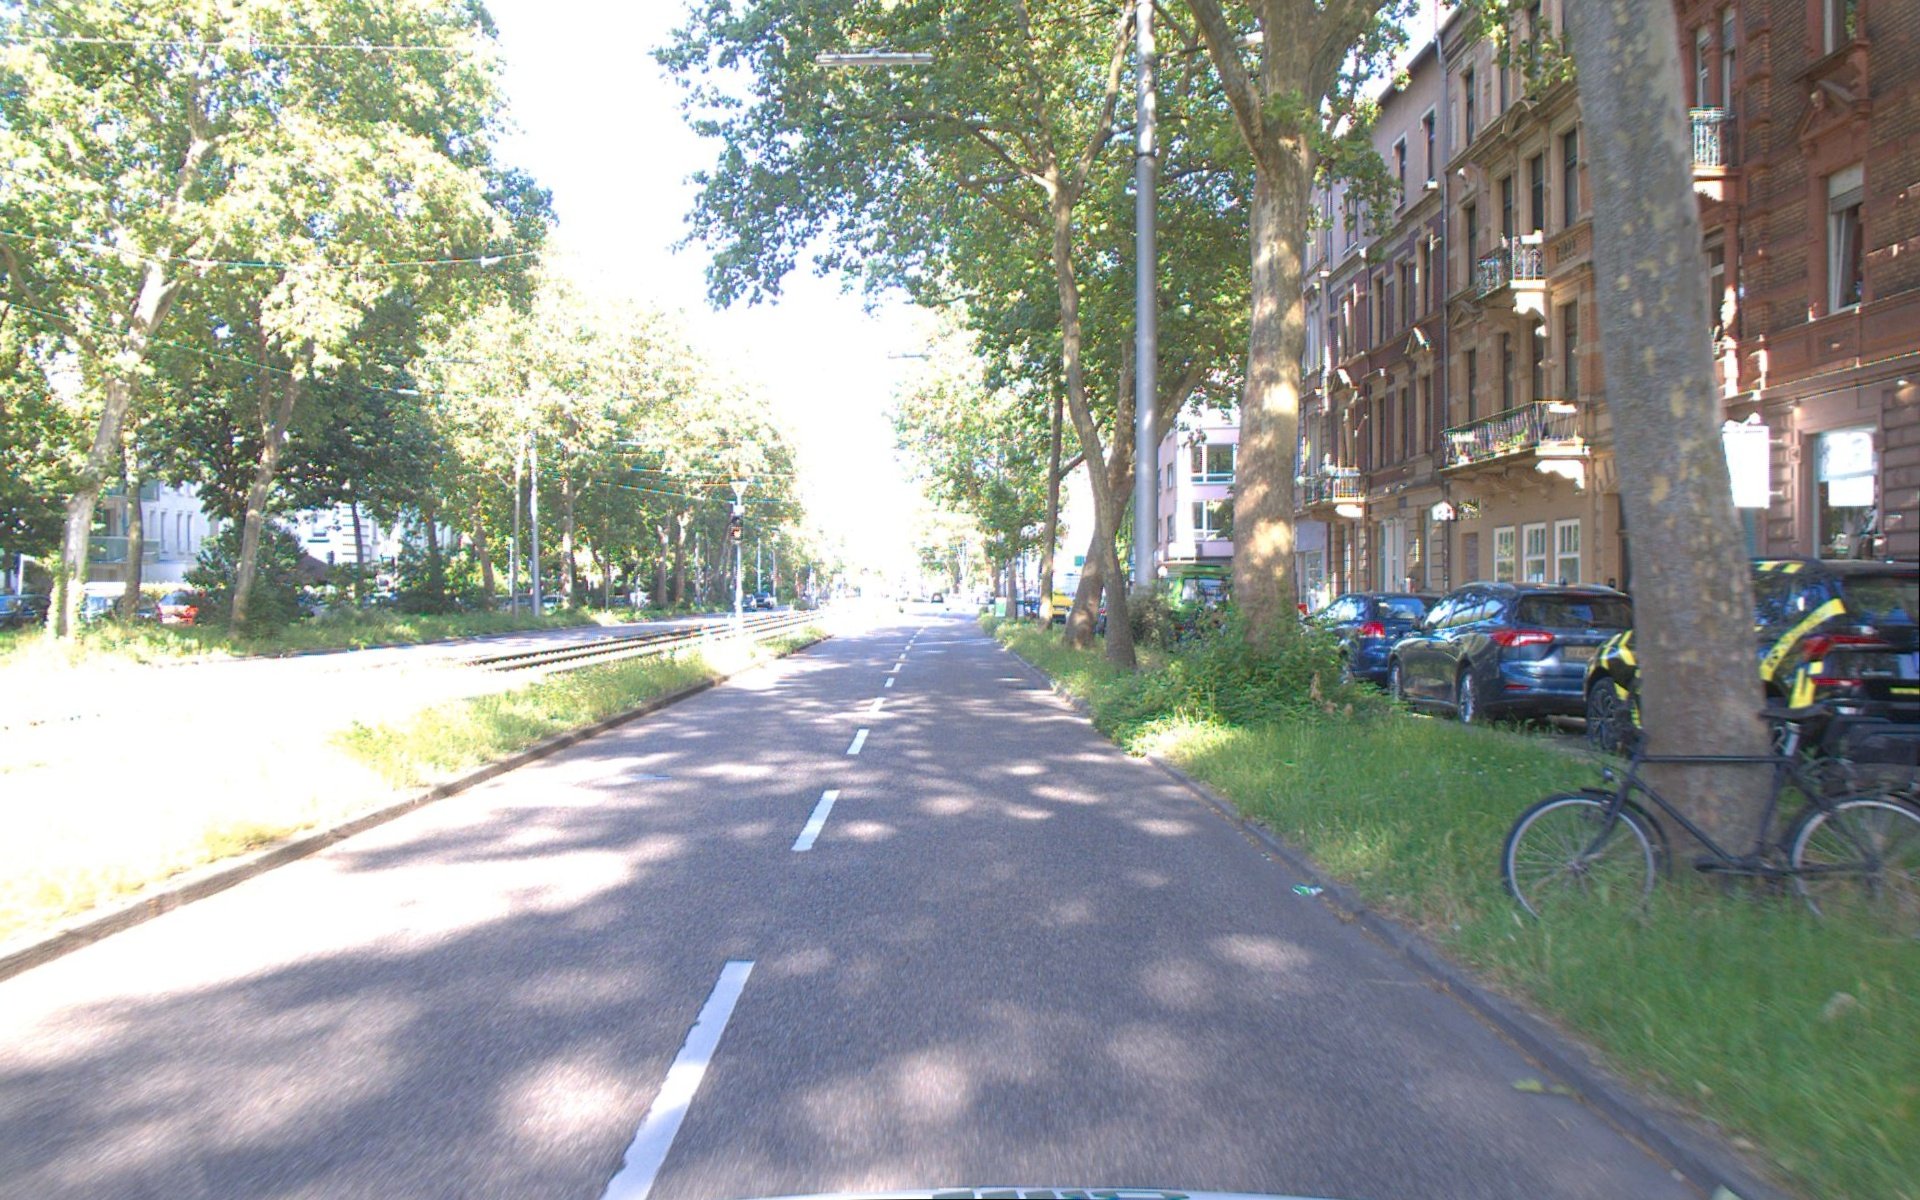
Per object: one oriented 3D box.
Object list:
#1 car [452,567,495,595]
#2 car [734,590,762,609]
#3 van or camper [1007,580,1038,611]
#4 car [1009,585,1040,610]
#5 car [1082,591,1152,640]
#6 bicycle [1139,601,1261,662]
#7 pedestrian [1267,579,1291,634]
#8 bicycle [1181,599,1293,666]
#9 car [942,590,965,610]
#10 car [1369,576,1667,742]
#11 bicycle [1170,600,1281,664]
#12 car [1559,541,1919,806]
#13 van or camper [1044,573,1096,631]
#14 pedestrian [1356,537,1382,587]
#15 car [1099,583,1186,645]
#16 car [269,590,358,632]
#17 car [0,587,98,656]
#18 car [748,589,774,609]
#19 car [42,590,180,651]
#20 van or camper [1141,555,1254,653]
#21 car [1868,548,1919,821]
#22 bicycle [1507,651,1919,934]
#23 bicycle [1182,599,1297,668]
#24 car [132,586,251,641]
[{"bbox_3d":[-36.184,-1.384,123.125,1.952,2.049,4.000,0,0,0],"label":"car"},{"bbox_3d":[-18.045,-0.032,140.690,1.759,1.534,4.338,-3,0,0],"label":"car"},{"bbox_3d":[4.163,-0.293,110.667,1.802,1.997,5.125,1,0,-1],"label":"van or camper"},{"bbox_3d":[4.093,-0.135,105.278,1.649,1.540,3.665,1,0,-3],"label":"car"},{"bbox_3d":[5.147,0.490,54.720,1.702,1.489,4.363,3,0,-2],"label":"car"},{"bbox_3d":[5.307,0.693,36.704,2.501,1.317,0.973,1,0,-8],"label":"bicycle"},{"bbox_3d":[10.869,0.226,56.333,0.688,1.854,0.611,0,0,-1],"label":"pedestrian"},{"bbox_3d":[5.687,0.659,34.049,2.120,1.317,0.983,1,0,-1],"label":"bicycle"},{"bbox_3d":[-0.606,0.009,146.495,1.980,1.691,3.999,0,0,-1],"label":"car"},{"bbox_3d":[5.789,0.517,17.782,1.660,1.533,4.582,0,1,0],"label":"car"},{"bbox_3d":[5.671,0.673,35.336,2.125,1.317,0.980,1,0,-12],"label":"bicycle"},{"bbox_3d":[5.921,0.391,11.856,1.660,1.557,4.261,0,1,-1],"label":"car"},{"bbox_3d":[5.101,0.108,77.701,2.139,2.523,6.269,2,0,2],"label":"van or camper"},{"bbox_3d":[12.257,-1.129,49.571,0.585,1.502,0.767,0,0,0],"label":"pedestrian"},{"bbox_3d":[5.399,0.405,49.537,1.853,1.676,4.798,3,0,-2],"label":"car"},{"bbox_3d":[-27.287,0.468,69.989,1.987,1.626,5.084,-2,0,-4],"label":"car"},{"bbox_3d":[-26.525,0.560,46.642,2.066,1.840,4.736,0,0,-2],"label":"car"},{"bbox_3d":[-19.856,-0.096,165.534,1.953,1.903,4.872,-2,0,0],"label":"car"},{"bbox_3d":[-26.608,0.595,52.058,2.067,1.840,4.736,0,0,-3],"label":"car"},{"bbox_3d":[5.667,0.092,40.024,1.797,2.134,4.772,3,0,-2],"label":"van or camper"},{"bbox_3d":[6.060,0.485,7.343,1.679,1.477,4.261,0,1,-1],"label":"car"},{"bbox_3d":[3.058,0.754,6.682,1.560,1.077,0.404,0,0,6],"label":"bicycle"},{"bbox_3d":[5.551,0.652,32.897,2.119,1.317,0.983,1,0,1],"label":"bicycle"},{"bbox_3d":[-26.798,0.432,57.851,2.066,1.840,4.736,0,0,-2],"label":"car"}]
